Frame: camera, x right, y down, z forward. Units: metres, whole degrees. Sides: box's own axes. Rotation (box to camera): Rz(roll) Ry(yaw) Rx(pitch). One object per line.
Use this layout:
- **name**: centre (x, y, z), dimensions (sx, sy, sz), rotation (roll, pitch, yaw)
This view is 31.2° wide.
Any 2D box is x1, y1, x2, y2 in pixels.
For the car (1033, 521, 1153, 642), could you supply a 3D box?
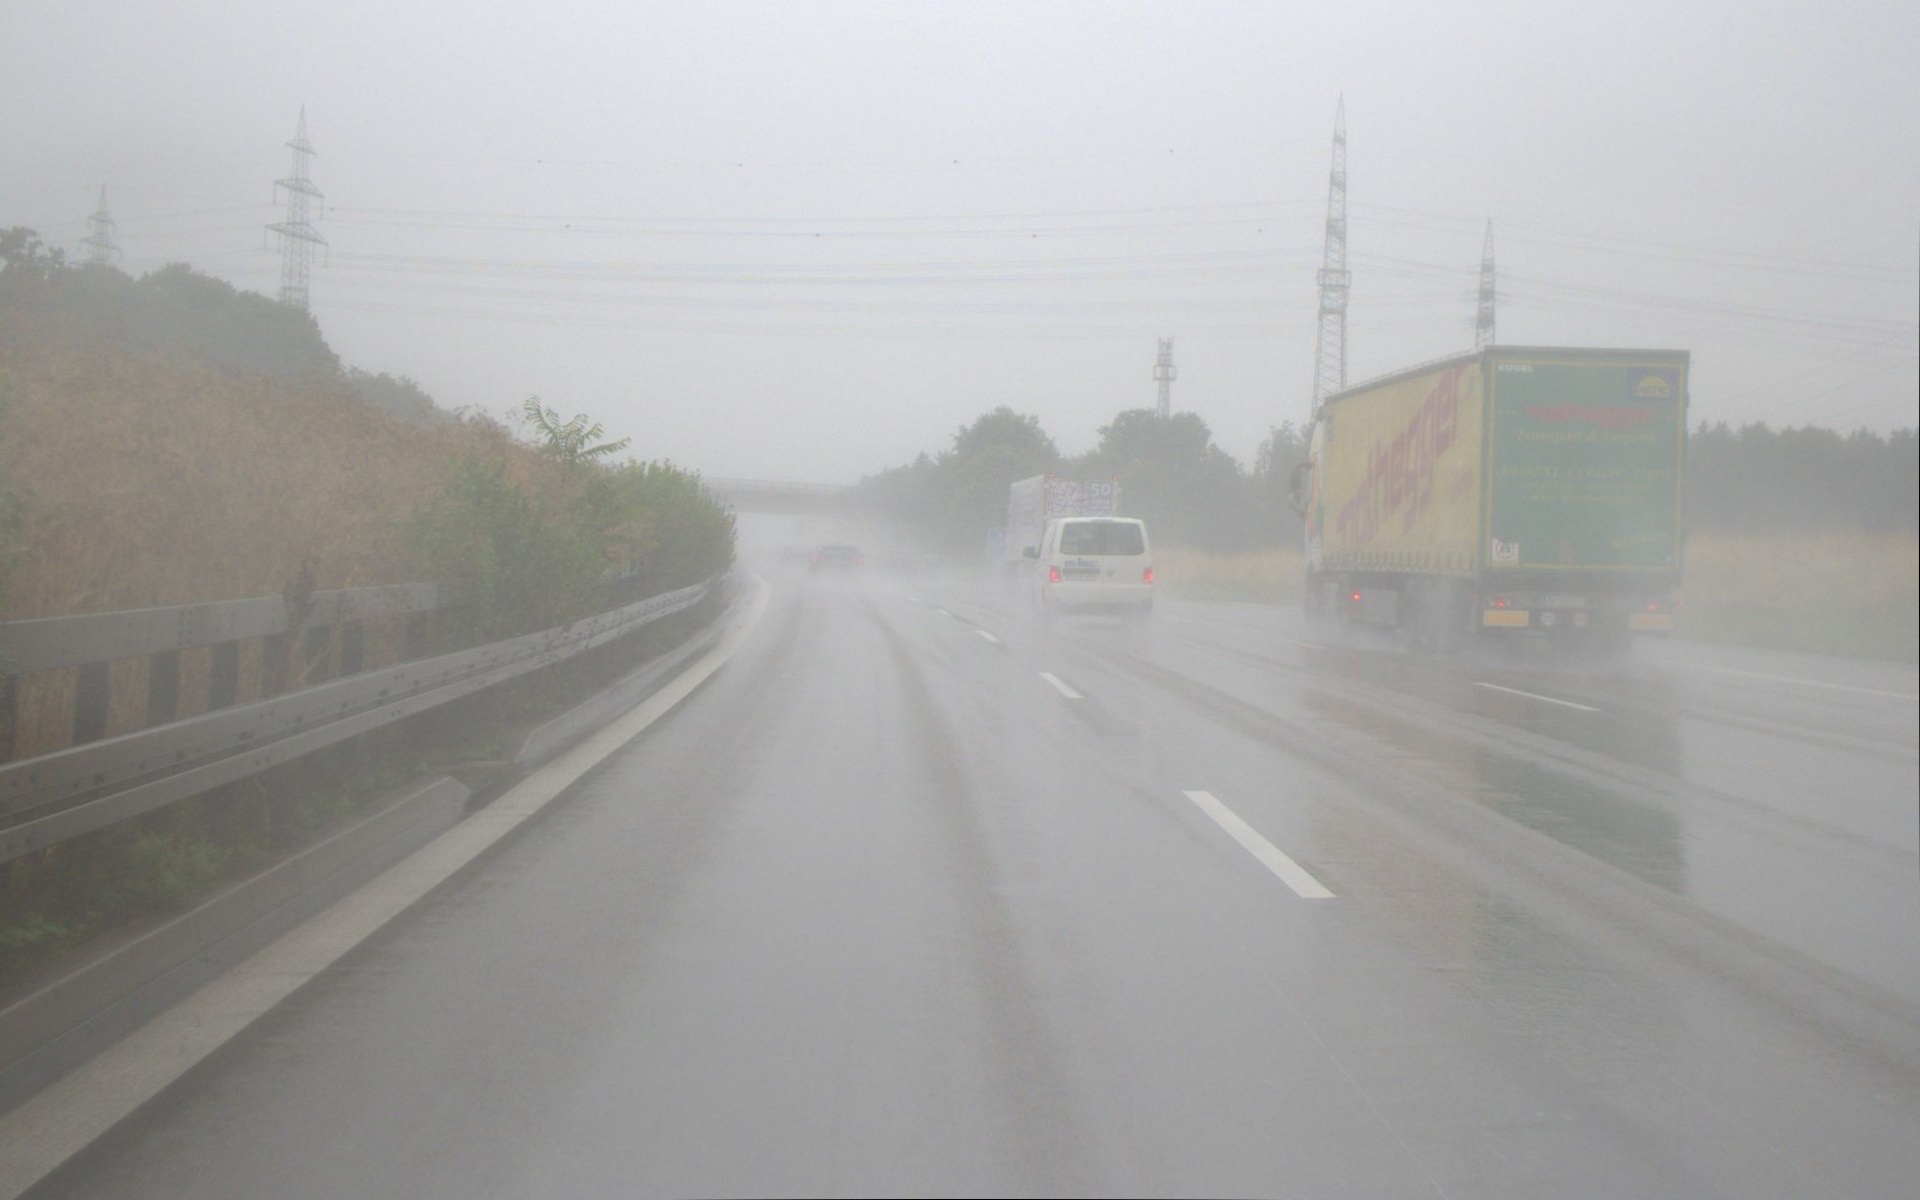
- **car**: centre (2.366, -0.358, 60.446), dimensions (1.994, 2.006, 4.000), rotation (1, 2, 4)

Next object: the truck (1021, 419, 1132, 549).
- **truck**: centre (3.953, -3.995, 119.005), dimensions (3.232, 4.296, 8.838), rotation (1, 2, -2)

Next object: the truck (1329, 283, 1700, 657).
- **truck**: centre (7.775, -1.785, 50.966), dimensions (4.190, 4.614, 16.103), rotation (1, 1, 5)
